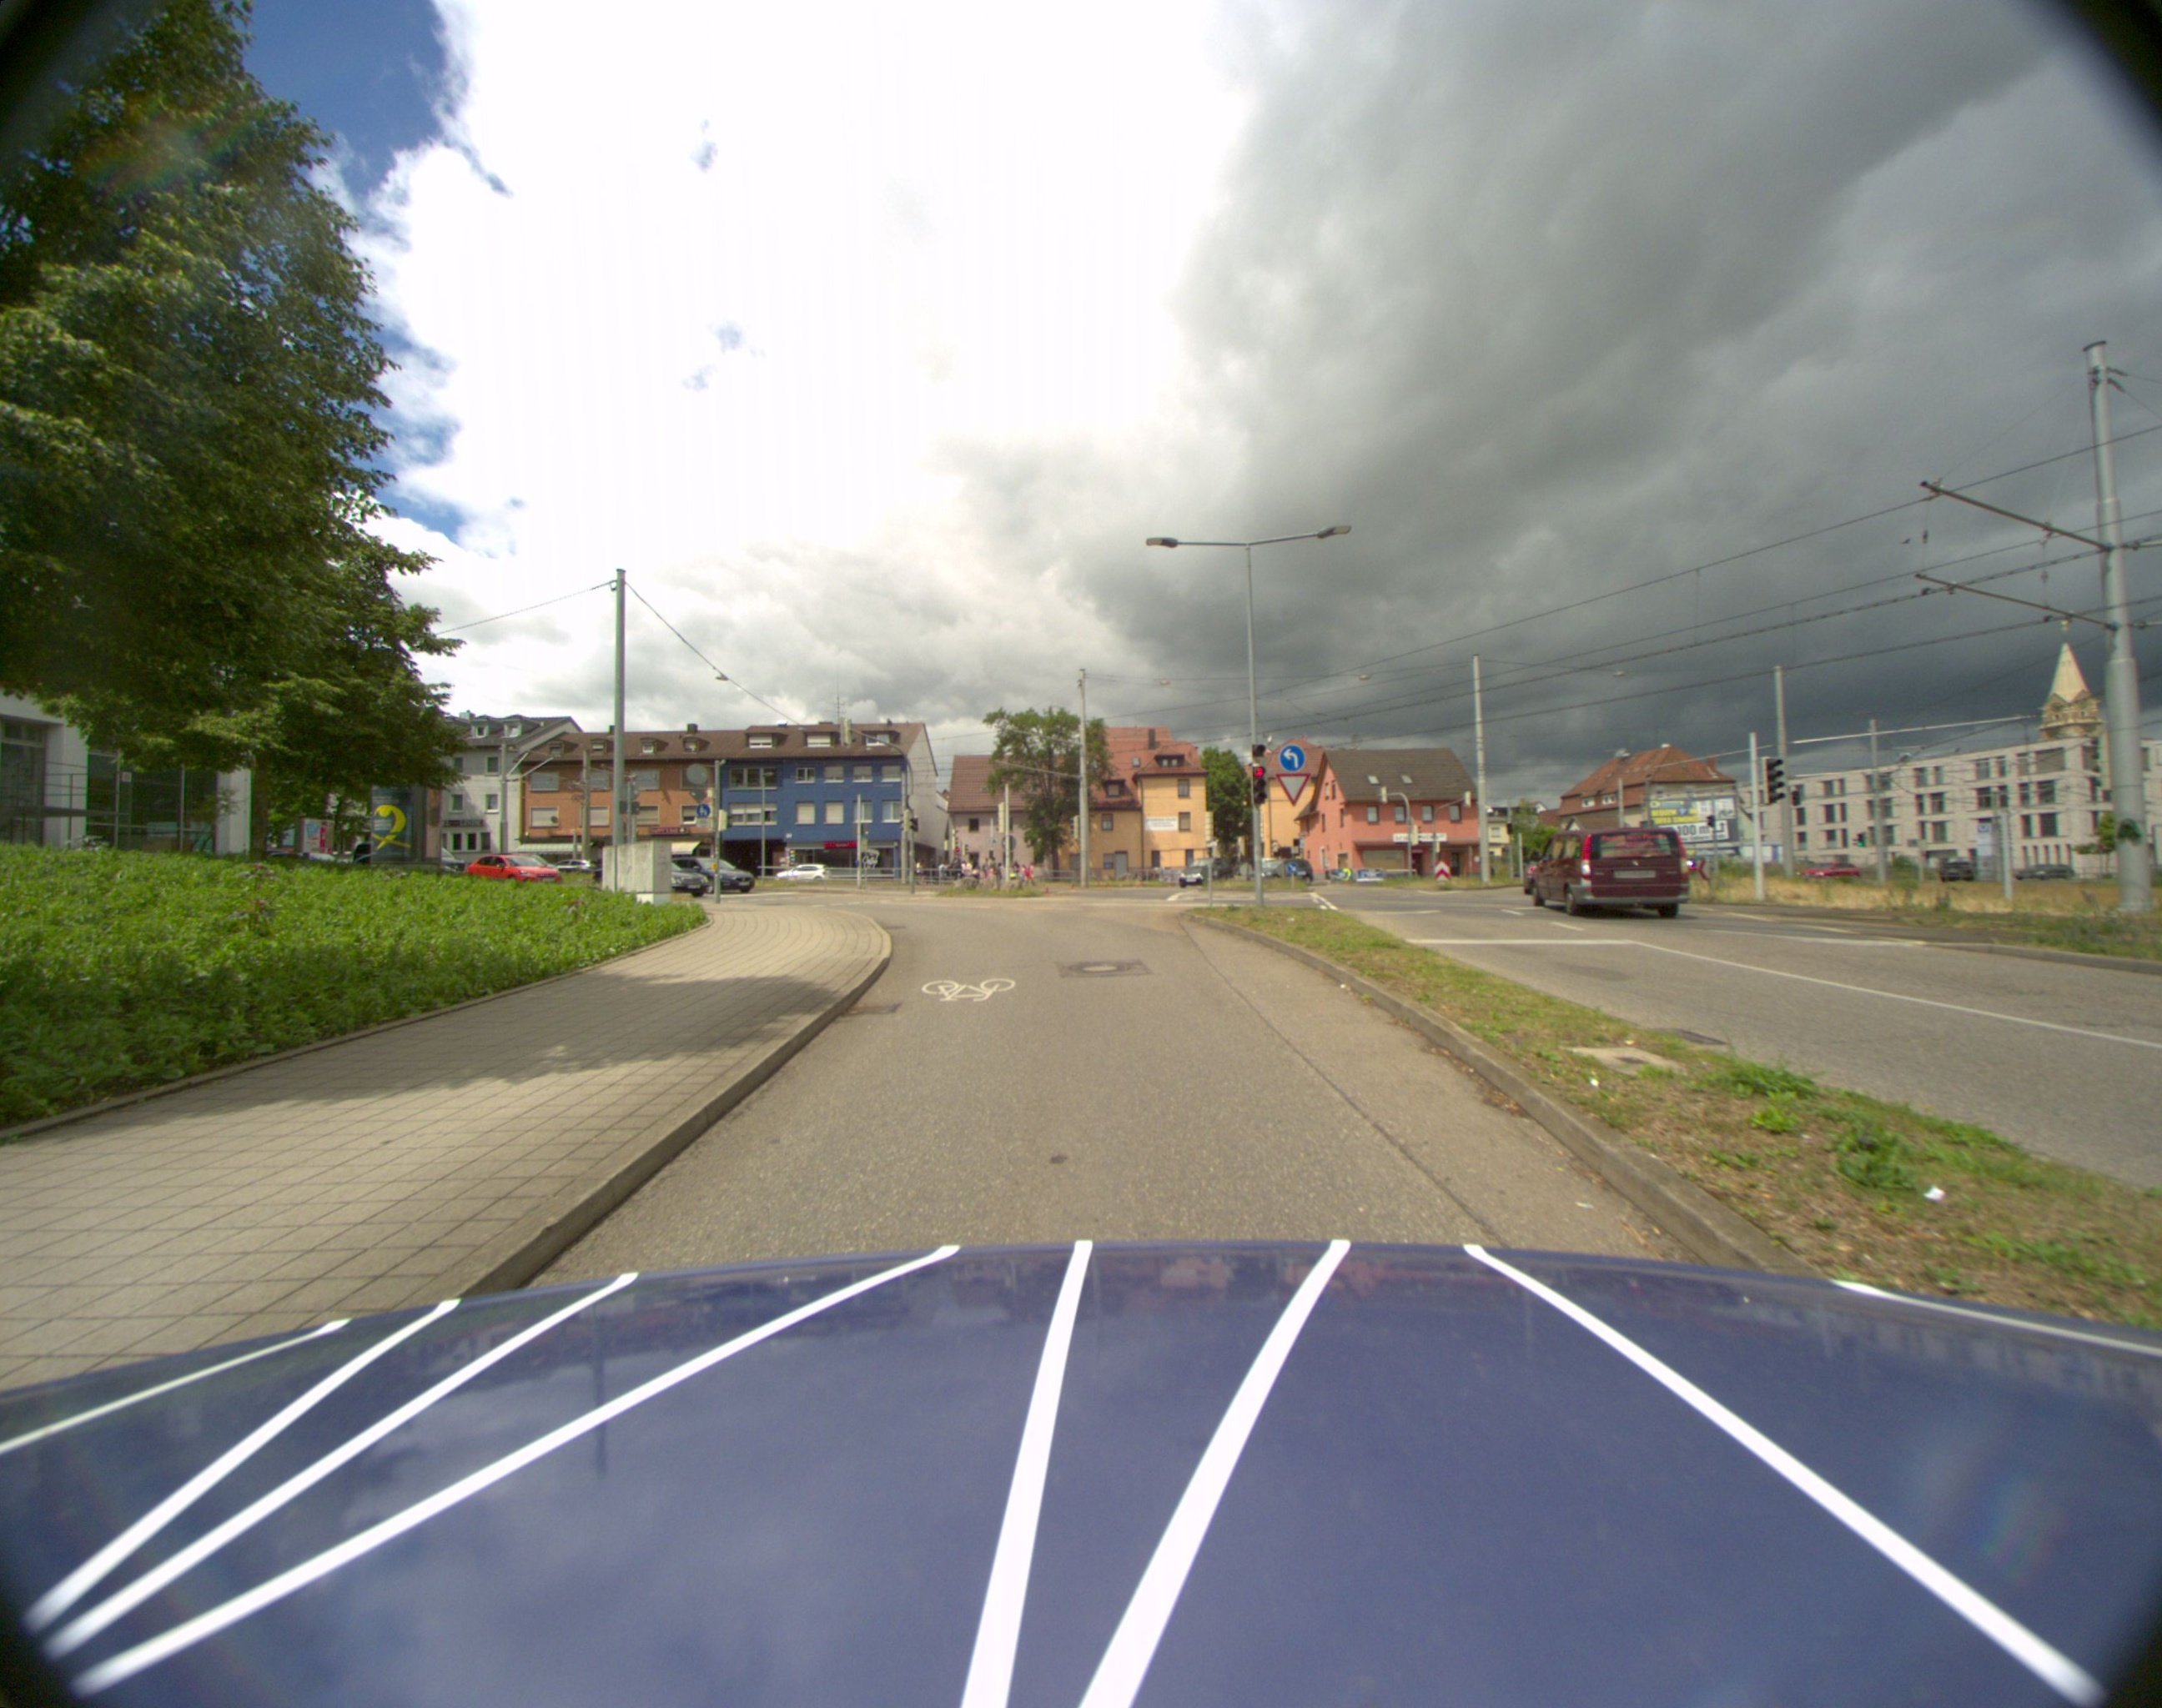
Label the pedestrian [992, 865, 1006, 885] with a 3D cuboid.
[{"bbox_3d":[-4.775,1.206,44.218,0.676,1.160,0.586,0,-1,-30],"label":"pedestrian"}]

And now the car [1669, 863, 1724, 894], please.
[{"bbox_3d":[34.586,1.327,42.662,4.305,1.571,1.806,-1,0,-43],"label":"car"}]

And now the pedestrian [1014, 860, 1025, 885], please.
[{"bbox_3d":[-3.739,1.135,46.366,0.587,1.518,0.675,0,-1,-9],"label":"pedestrian"}]

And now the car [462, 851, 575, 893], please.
[{"bbox_3d":[-23.229,0.758,31.398,3.991,1.632,2.004,-2,-1,23],"label":"car"}]

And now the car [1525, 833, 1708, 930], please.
[{"bbox_3d":[11.650,0.515,16.995,1.996,1.811,5.079,-1,0,19],"label":"car"}]

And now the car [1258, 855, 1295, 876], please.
[{"bbox_3d":[18.076,1.086,70.365,2.080,1.886,4.663,-2,-1,-1],"label":"car"}]

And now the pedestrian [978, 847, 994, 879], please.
[{"bbox_3d":[-5.290,0.501,42.365,0.694,1.739,0.750,0,-1,-27],"label":"pedestrian"}]

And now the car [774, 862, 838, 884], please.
[{"bbox_3d":[-19.789,1.401,54.767,3.997,1.522,1.713,0,-2,0],"label":"car"}]

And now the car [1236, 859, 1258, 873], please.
[{"bbox_3d":[17.775,1.309,81.494,1.561,1.362,3.133,-1,-3,-1],"label":"car"}]

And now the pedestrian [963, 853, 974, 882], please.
[{"bbox_3d":[-6.911,0.811,46.666,0.675,1.739,0.587,-1,0,-10],"label":"pedestrian"}]

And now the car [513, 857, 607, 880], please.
[{"bbox_3d":[-34.338,0.995,50.140,4.852,1.362,1.920,-1,-2,-1],"label":"car"}]

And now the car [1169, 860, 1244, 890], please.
[{"bbox_3d":[6.472,1.069,38.904,1.878,1.419,4.009,-3,-3,42],"label":"car"}]

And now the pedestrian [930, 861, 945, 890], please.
[{"bbox_3d":[-8.795,1.310,46.573,0.754,1.739,0.586,0,-1,-30],"label":"pedestrian"}]

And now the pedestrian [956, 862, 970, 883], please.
[{"bbox_3d":[-7.434,1.162,47.954,0.674,1.367,0.635,0,-1,9],"label":"pedestrian"}]

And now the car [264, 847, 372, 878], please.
[{"bbox_3d":[-39.053,0.466,38.924,3.993,1.545,2.018,0,-1,12],"label":"car"}]

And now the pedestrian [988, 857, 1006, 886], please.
[{"bbox_3d":[-4.782,0.979,43.333,0.891,1.641,0.826,0,-1,1],"label":"pedestrian"}]

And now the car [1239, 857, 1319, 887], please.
[{"bbox_3d":[11.586,1.063,44.387,4.428,1.639,1.996,0,-3,-33],"label":"car"}]

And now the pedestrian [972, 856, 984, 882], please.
[{"bbox_3d":[-6.194,0.892,45.673,0.676,1.556,0.586,-1,0,-17],"label":"pedestrian"}]

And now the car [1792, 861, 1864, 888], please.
[{"bbox_3d":[57.272,1.583,58.276,4.002,2.001,1.999,-1,-2,-13],"label":"car"}]

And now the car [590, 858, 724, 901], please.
[{"bbox_3d":[-15.477,0.908,27.775,4.313,1.456,2.056,-1,0,23],"label":"car"}]

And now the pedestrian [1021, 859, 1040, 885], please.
[{"bbox_3d":[-2.941,1.042,44.257,0.856,1.472,0.740,0,-1,-30],"label":"pedestrian"}]

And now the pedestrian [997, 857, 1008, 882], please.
[{"bbox_3d":[-4.728,0.946,45.780,0.587,1.483,0.675,-1,0,-2],"label":"pedestrian"}]

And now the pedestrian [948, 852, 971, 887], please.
[{"bbox_3d":[-6.625,0.847,41.481,0.824,1.830,0.969,1,-2,24],"label":"pedestrian"}]

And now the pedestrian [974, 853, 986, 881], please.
[{"bbox_3d":[-6.294,0.829,47.322,0.675,1.739,0.587,-1,0,-10],"label":"pedestrian"}]

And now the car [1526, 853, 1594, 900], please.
[{"bbox_3d":[16.342,0.698,26.077,1.798,1.402,5.062,0,1,31],"label":"car"}]

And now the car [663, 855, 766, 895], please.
[{"bbox_3d":[-14.987,0.825,31.050,4.082,1.430,1.743,2,2,29],"label":"car"}]

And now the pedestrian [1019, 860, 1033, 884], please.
[{"bbox_3d":[-3.417,1.136,47.239,0.542,1.461,0.778,0,-1,-31],"label":"pedestrian"}]
